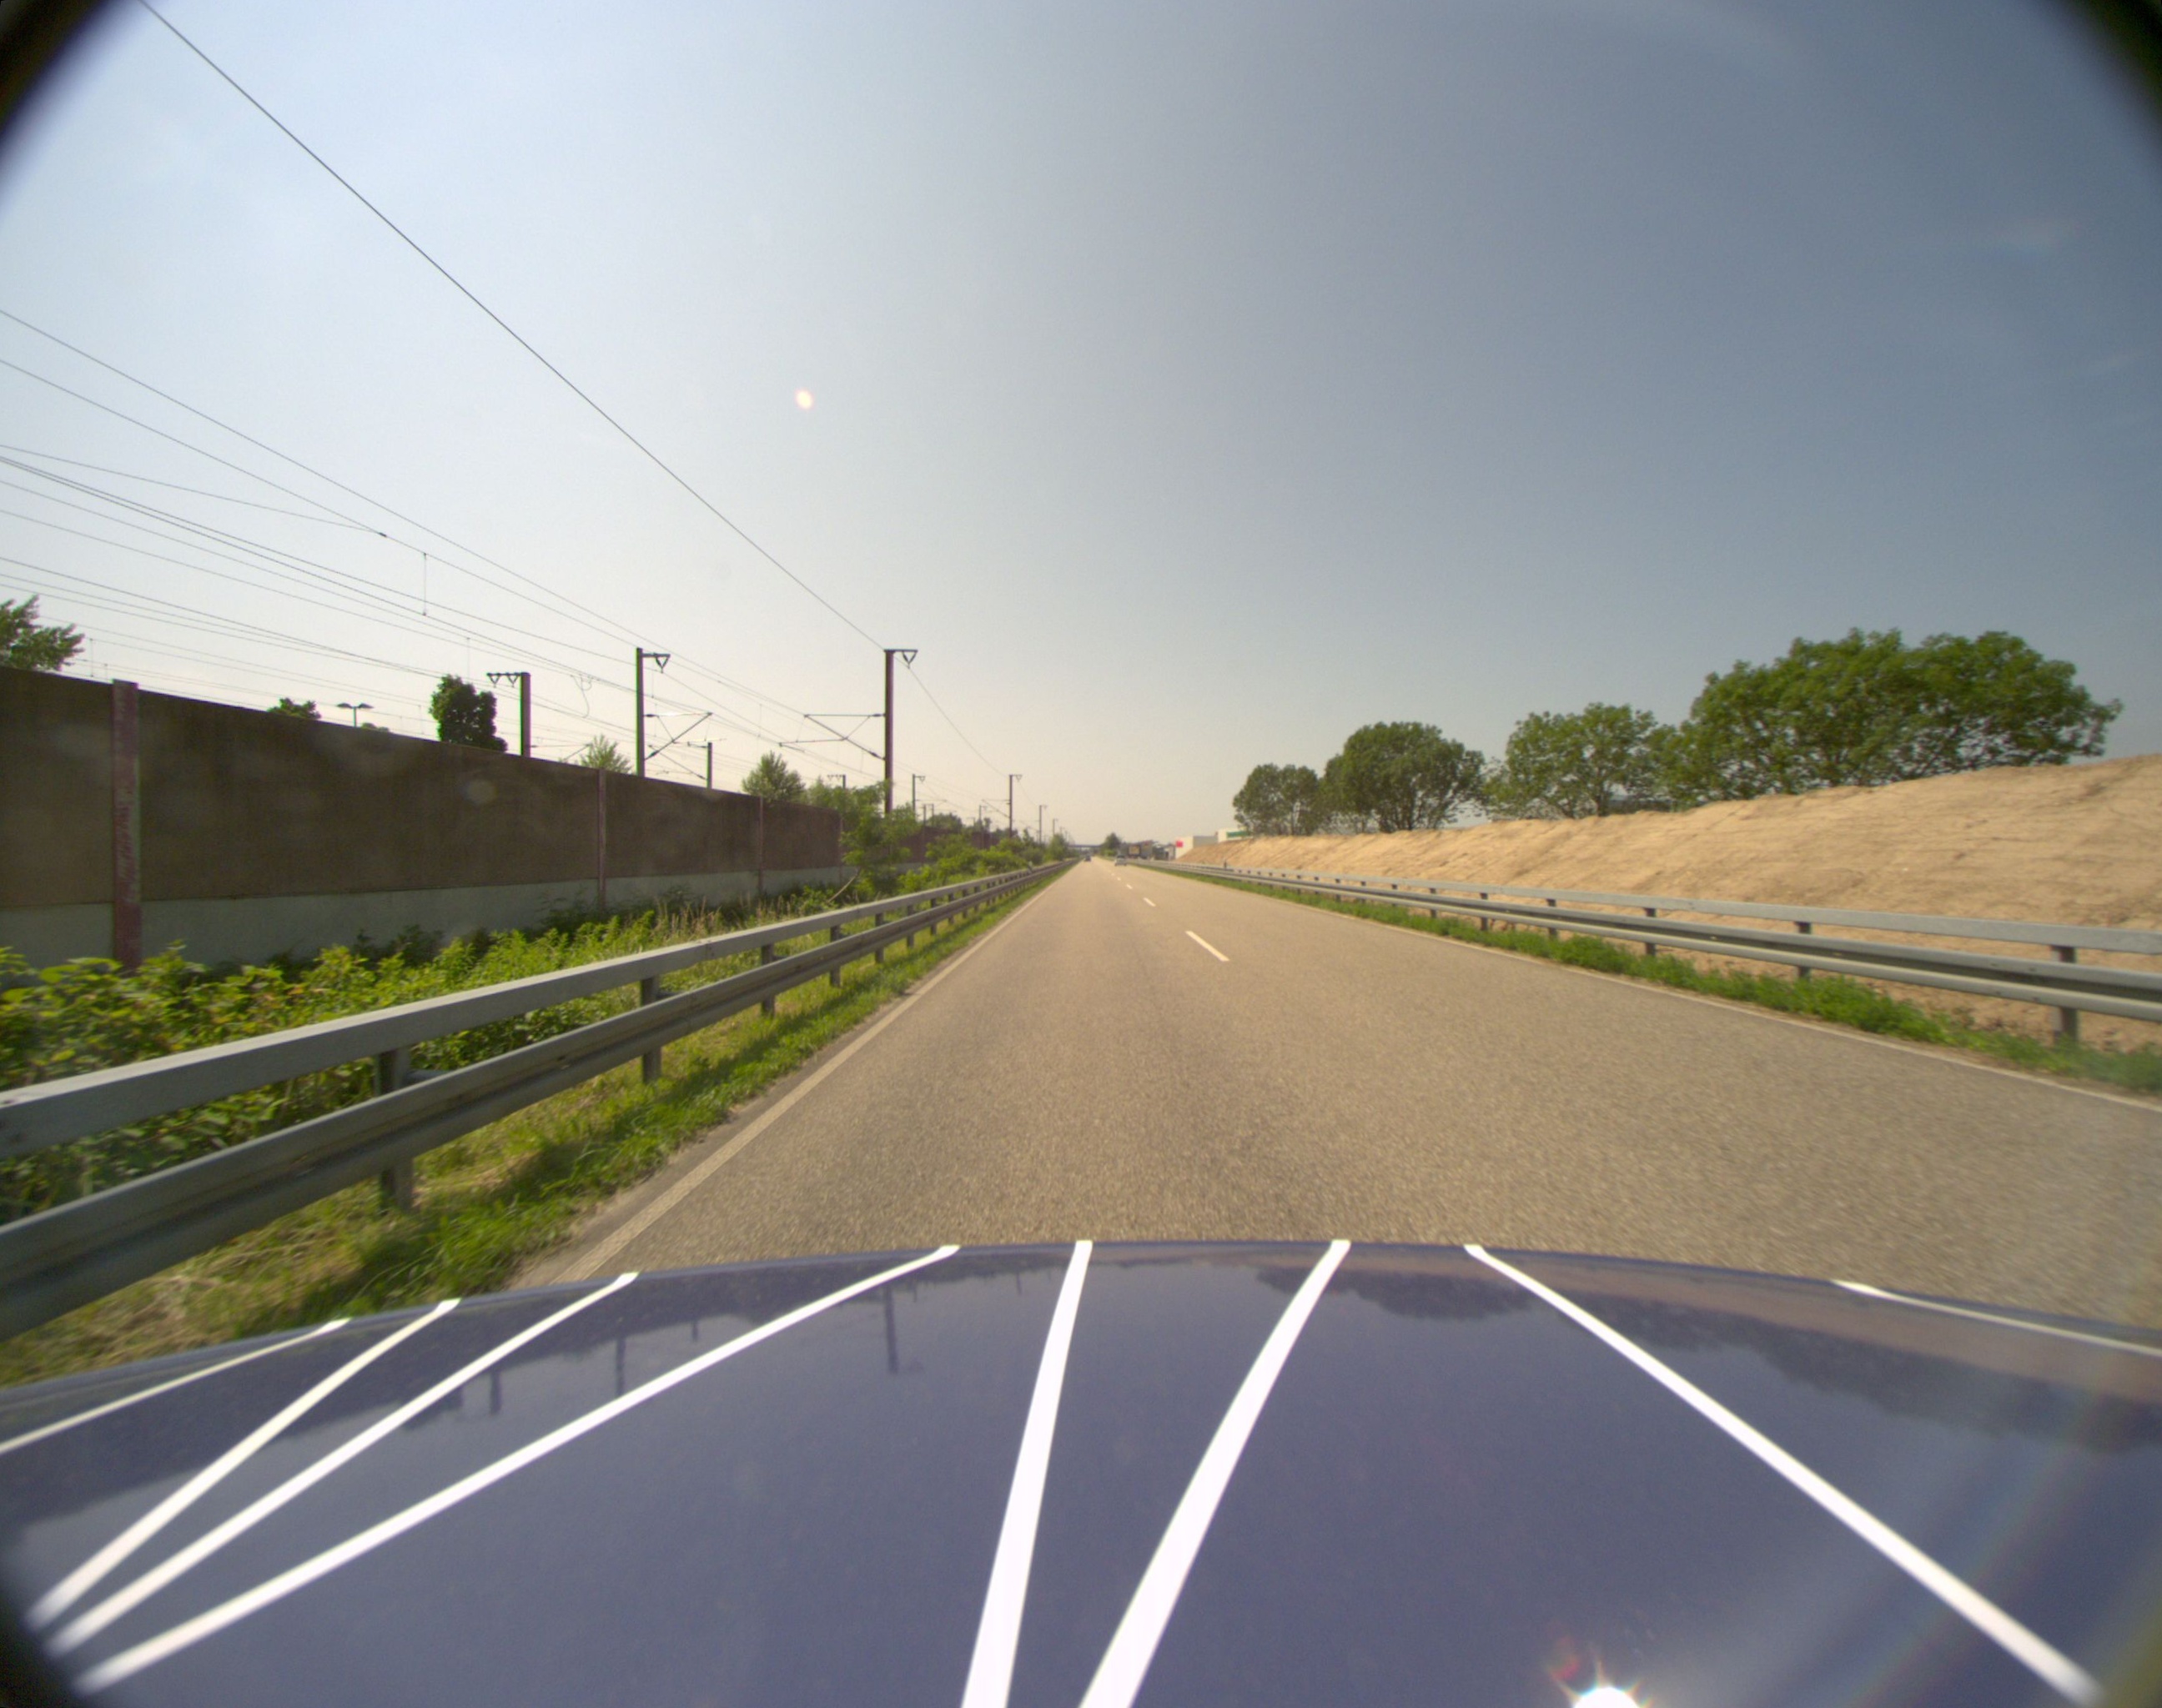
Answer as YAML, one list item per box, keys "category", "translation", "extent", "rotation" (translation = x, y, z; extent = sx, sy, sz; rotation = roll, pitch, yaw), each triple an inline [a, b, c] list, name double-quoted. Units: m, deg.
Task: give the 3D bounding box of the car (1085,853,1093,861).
- category: "car"
  translation: [1.980, 0.827, 191.939]
  extent: [1.999, 2.002, 3.999]
  rotation: [-1, 0, -1]

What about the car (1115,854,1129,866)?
- category: "car"
  translation: [5.652, 0.792, 105.126]
  extent: [1.599, 1.567, 3.828]
  rotation: [-1, 0, 0]
